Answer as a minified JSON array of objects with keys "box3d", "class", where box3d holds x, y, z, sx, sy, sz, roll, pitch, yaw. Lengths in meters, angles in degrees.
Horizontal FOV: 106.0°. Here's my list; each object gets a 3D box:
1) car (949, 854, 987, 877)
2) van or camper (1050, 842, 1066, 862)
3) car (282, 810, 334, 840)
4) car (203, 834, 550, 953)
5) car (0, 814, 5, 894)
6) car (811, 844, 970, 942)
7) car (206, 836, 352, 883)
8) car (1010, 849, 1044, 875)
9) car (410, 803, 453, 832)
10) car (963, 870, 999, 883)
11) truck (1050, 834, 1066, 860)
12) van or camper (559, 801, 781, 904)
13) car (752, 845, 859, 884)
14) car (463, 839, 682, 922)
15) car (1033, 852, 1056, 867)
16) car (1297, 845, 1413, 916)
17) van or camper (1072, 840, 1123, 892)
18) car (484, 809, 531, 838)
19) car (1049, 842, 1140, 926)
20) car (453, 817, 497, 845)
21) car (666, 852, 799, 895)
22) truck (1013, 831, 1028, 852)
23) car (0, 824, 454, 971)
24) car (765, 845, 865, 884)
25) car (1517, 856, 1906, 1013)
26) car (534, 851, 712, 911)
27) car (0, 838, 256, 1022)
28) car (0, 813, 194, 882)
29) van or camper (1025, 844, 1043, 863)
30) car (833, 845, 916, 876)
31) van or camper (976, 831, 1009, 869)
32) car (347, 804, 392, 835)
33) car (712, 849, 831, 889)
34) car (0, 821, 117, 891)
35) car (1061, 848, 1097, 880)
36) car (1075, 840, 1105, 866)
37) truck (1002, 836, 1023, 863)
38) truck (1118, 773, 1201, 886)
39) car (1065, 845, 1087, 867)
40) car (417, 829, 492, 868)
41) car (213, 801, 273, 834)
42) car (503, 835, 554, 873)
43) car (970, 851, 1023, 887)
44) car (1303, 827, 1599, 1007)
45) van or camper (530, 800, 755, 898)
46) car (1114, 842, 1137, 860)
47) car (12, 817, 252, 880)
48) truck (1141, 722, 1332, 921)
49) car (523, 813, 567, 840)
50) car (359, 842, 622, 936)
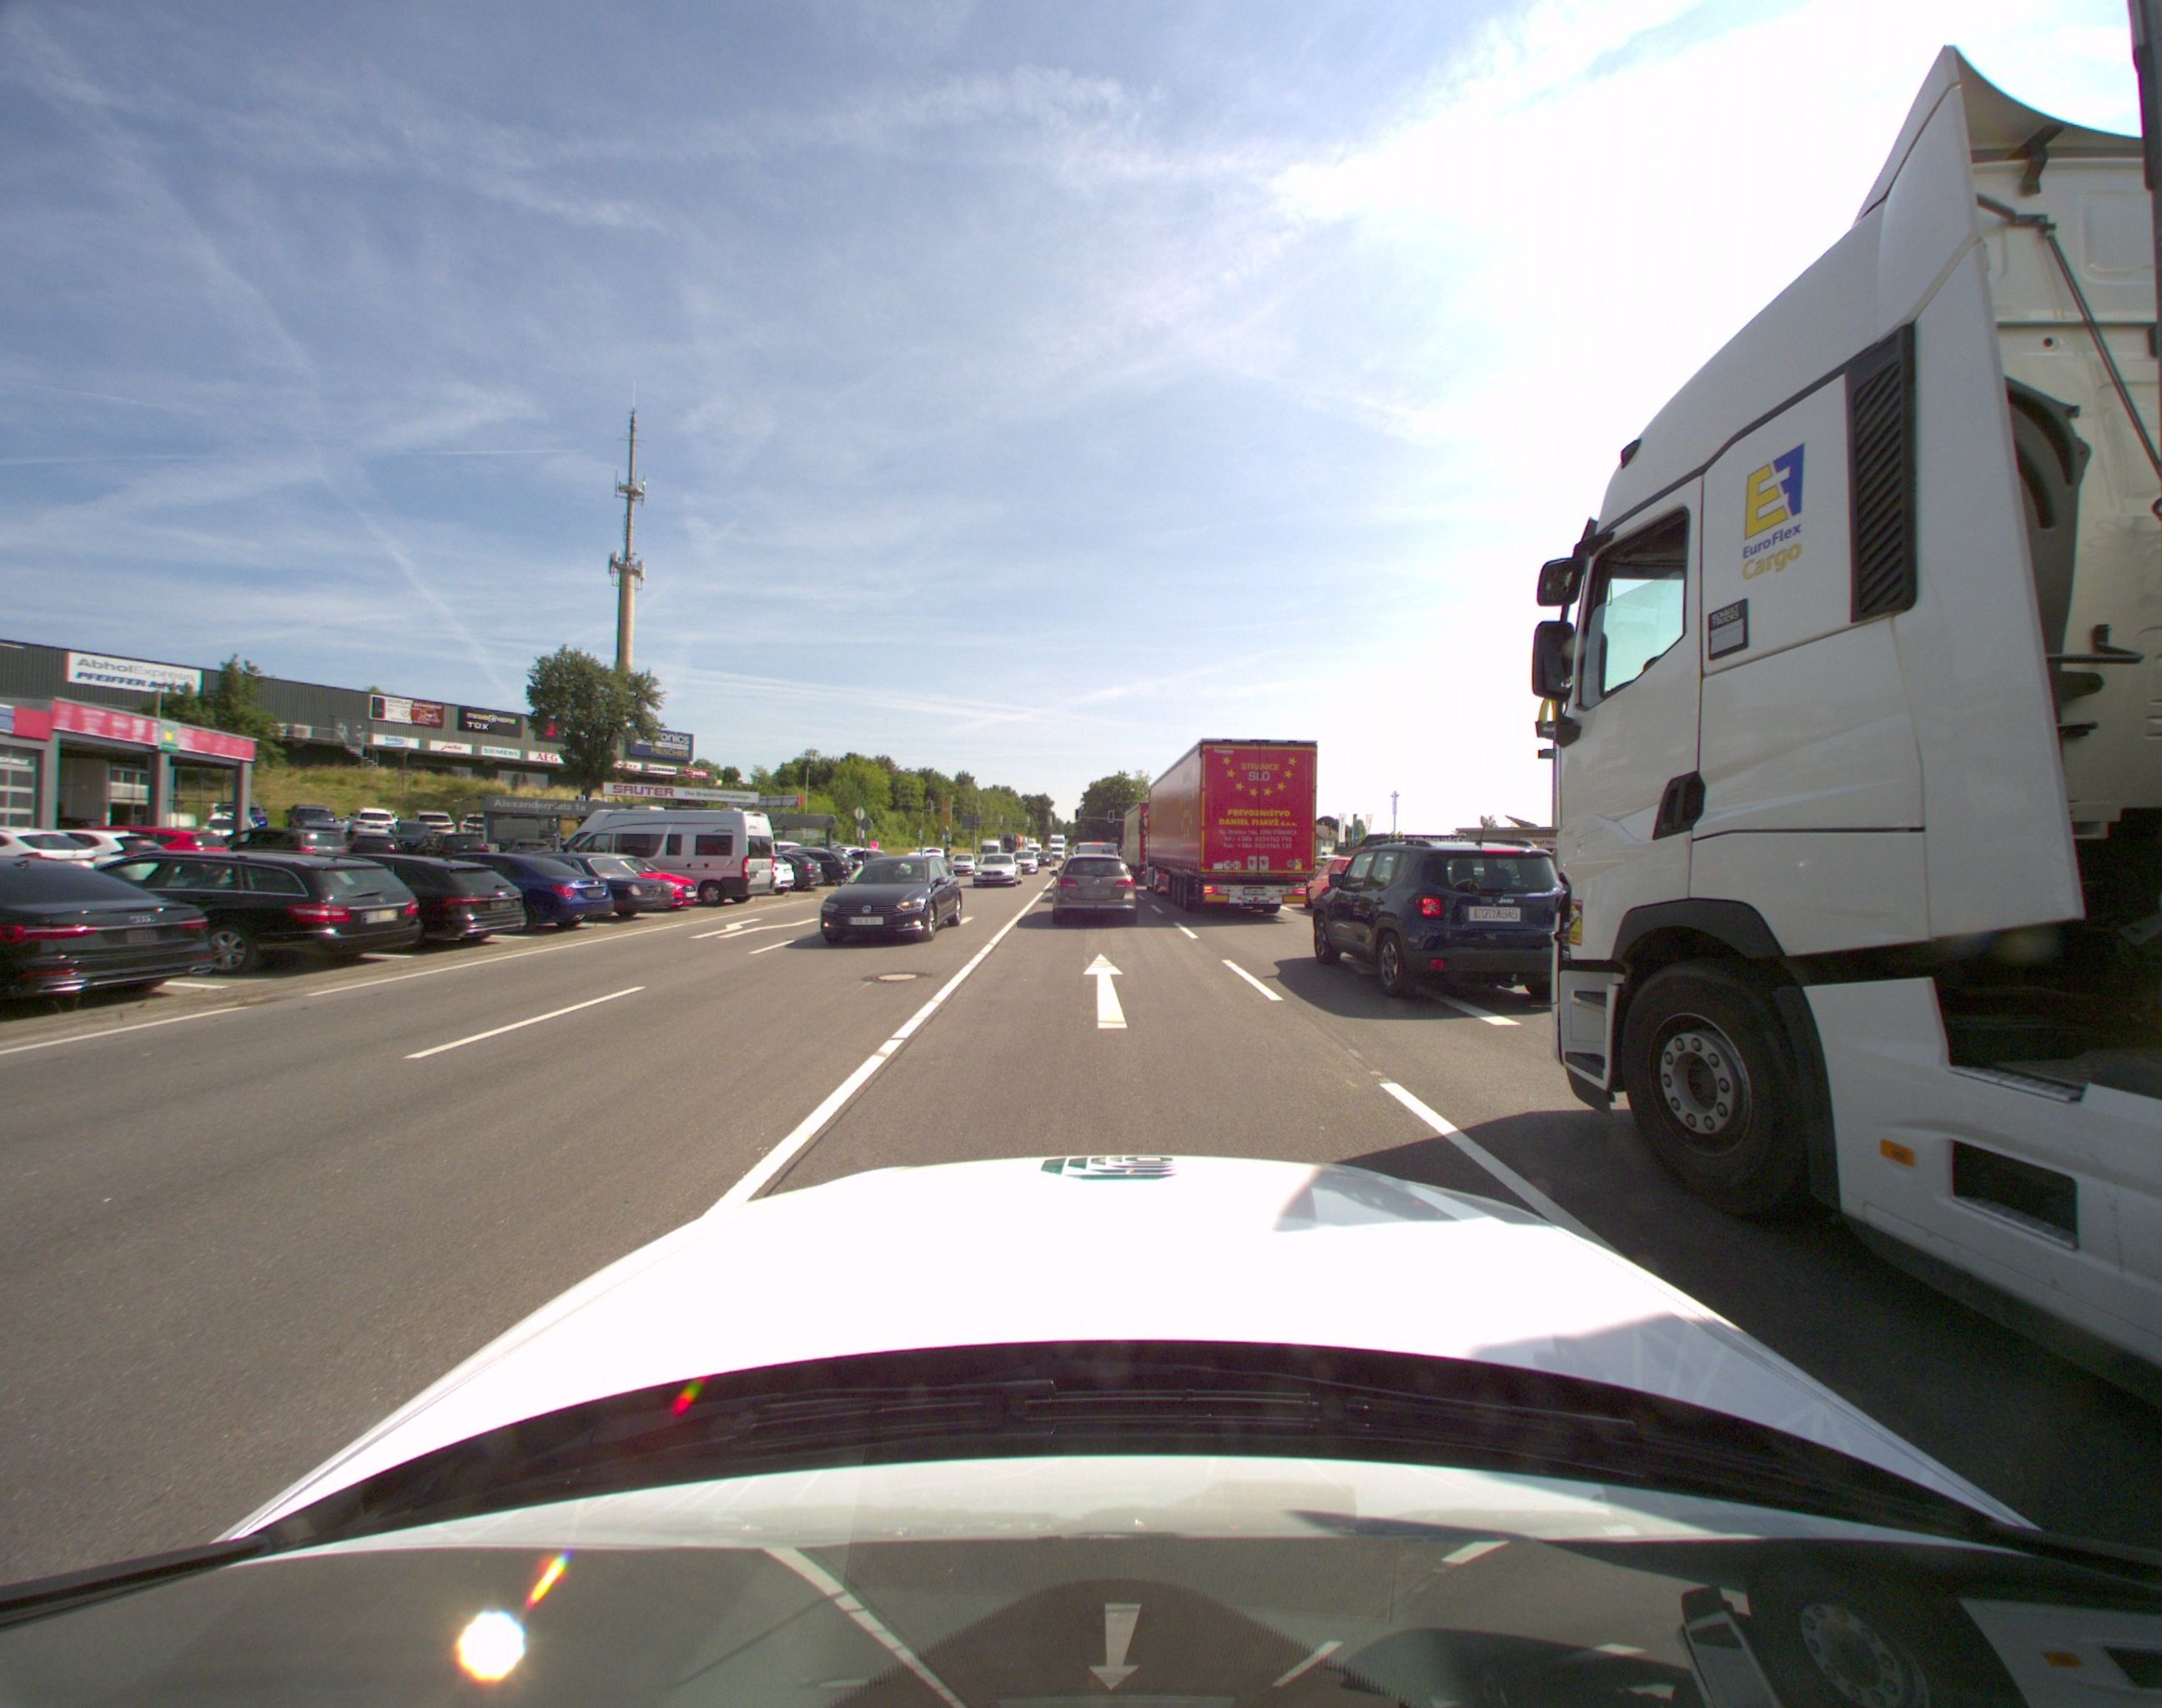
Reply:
[{"box3d":[-7.416,0.715,53.789,1.830,1.448,4.082,0,0,1],"class":"car"},{"box3d":[-3.495,-0.277,124.037,2.217,2.841,5.710,1,-1,0],"class":"van or camper"},{"box3d":[-40.435,-1.485,42.654,1.745,1.450,3.705,2,-1,-41],"class":"car"},{"box3d":[-11.110,0.598,13.085,3.834,1.484,1.801,5,0,-2],"class":"car"},{"box3d":[-22.168,-0.009,14.050,3.954,1.532,1.756,0,0,-23],"class":"car"},{"box3d":[-3.327,0.619,15.142,1.799,1.560,4.389,0,0,2],"class":"car"},{"box3d":[-28.952,0.189,29.438,3.795,1.588,1.773,0,0,8],"class":"car"},{"box3d":[-3.675,0.529,56.231,1.902,1.663,4.182,-1,0,1],"class":"car"},{"box3d":[-36.683,-2.017,45.960,1.745,1.450,3.705,2,-1,-41],"class":"car"},{"box3d":[-11.719,2.620,95.395,1.696,1.448,4.106,0,0,41],"class":"car"},{"box3d":[-3.873,-1.180,138.872,2.544,4.307,7.595,0,0,0],"class":"truck"},{"box3d":[-11.752,-0.043,23.588,5.226,2.731,2.211,1,0,1],"class":"van or camper"},{"box3d":[-11.356,0.436,33.759,3.805,1.539,1.842,0,0,-1],"class":"car"},{"box3d":[-11.279,0.568,18.255,3.697,1.484,1.707,5,0,-2],"class":"car"},{"box3d":[-3.455,0.523,78.370,1.658,1.409,3.932,-1,0,6],"class":"car"},{"box3d":[7.057,0.629,21.396,1.812,1.685,4.002,0,0,2],"class":"car"},{"box3d":[0.611,0.438,31.955,1.847,1.905,3.784,1,0,0],"class":"van or camper"},{"box3d":[-31.887,-1.675,45.237,1.745,1.450,3.705,2,-1,-41],"class":"car"},{"box3d":[0.368,0.600,17.757,1.782,1.638,3.507,0,0,3],"class":"car"},{"box3d":[-35.268,-1.308,47.345,1.745,1.450,3.705,2,-1,-41],"class":"car"},{"box3d":[-12.039,0.660,28.338,3.805,1.448,1.842,0,0,-1],"class":"car"},{"box3d":[-10.995,-2.267,148.311,2.528,3.786,6.981,-1,0,-4],"class":"truck"},{"box3d":[-11.410,0.536,10.928,4.447,1.484,1.771,5,0,-2],"class":"car"},{"box3d":[-11.729,0.444,36.074,3.805,1.675,1.842,0,0,-1],"class":"car"},{"box3d":[7.046,0.765,9.717,1.653,1.472,4.001,0,0,2],"class":"car"},{"box3d":[-11.785,0.663,21.128,3.581,1.480,1.812,0,0,1],"class":"car"},{"box3d":[-11.459,0.608,8.181,4.287,1.484,1.797,5,0,-2],"class":"car"},{"box3d":[-24.626,-0.144,19.723,3.833,1.588,1.756,0,0,-23],"class":"car"},{"box3d":[-6.548,-0.105,114.417,2.166,2.551,4.169,1,0,0],"class":"van or camper"},{"box3d":[-11.922,0.341,46.986,4.470,1.693,2.145,0,0,32],"class":"car"},{"box3d":[-7.855,-0.350,73.076,2.202,3.055,5.897,7,0,-3],"class":"van or camper"},{"box3d":[-38.599,-1.842,44.210,1.745,1.537,3.705,2,-1,-41],"class":"car"},{"box3d":[-11.721,0.550,31.013,3.805,1.448,1.842,0,0,-1],"class":"car"},{"box3d":[-23.367,0.026,16.954,3.833,1.431,1.756,0,0,-23],"class":"car"},{"box3d":[-0.086,0.502,41.914,1.721,1.519,3.312,1,-1,0],"class":"car"},{"box3d":[0.594,-0.028,50.169,1.720,1.519,3.313,1,-1,2],"class":"car"},{"box3d":[-9.653,-0.621,115.069,2.807,3.786,6.981,-1,0,-4],"class":"truck"},{"box3d":[4.048,-1.162,46.412,3.052,5.220,17.005,1,0,0],"class":"truck"},{"box3d":[-0.416,0.224,74.949,1.719,1.909,3.315,1,-1,3],"class":"car"},{"box3d":[-27.106,-0.226,35.214,3.780,1.588,1.780,0,0,40],"class":"car"},{"box3d":[-41.981,-1.798,40.861,1.745,1.450,3.705,2,-1,-41],"class":"car"},{"box3d":[-24.578,-0.017,36.312,1.775,1.588,3.790,1,0,-33],"class":"car"},{"box3d":[-3.773,0.620,37.167,1.903,1.521,4.780,0,0,0],"class":"car"},{"box3d":[4.040,0.590,9.691,1.812,1.685,4.002,0,0,2],"class":"car"},{"box3d":[-13.874,-0.164,26.066,5.872,2.873,2.289,1,0,0],"class":"van or camper"},{"box3d":[3.861,-0.226,71.211,1.721,1.519,3.311,2,-1,0],"class":"car"},{"box3d":[-25.568,-0.139,22.139,3.833,1.588,1.756,0,0,-23],"class":"car"},{"box3d":[3.987,-0.718,26.000,2.947,4.269,16.583,1,0,0],"class":"truck"},{"box3d":[-32.620,-1.642,49.534,1.745,1.450,3.705,2,-1,-41],"class":"car"},{"box3d":[-11.173,0.625,15.605,3.697,1.555,1.707,2,1,-2],"class":"car"}]
